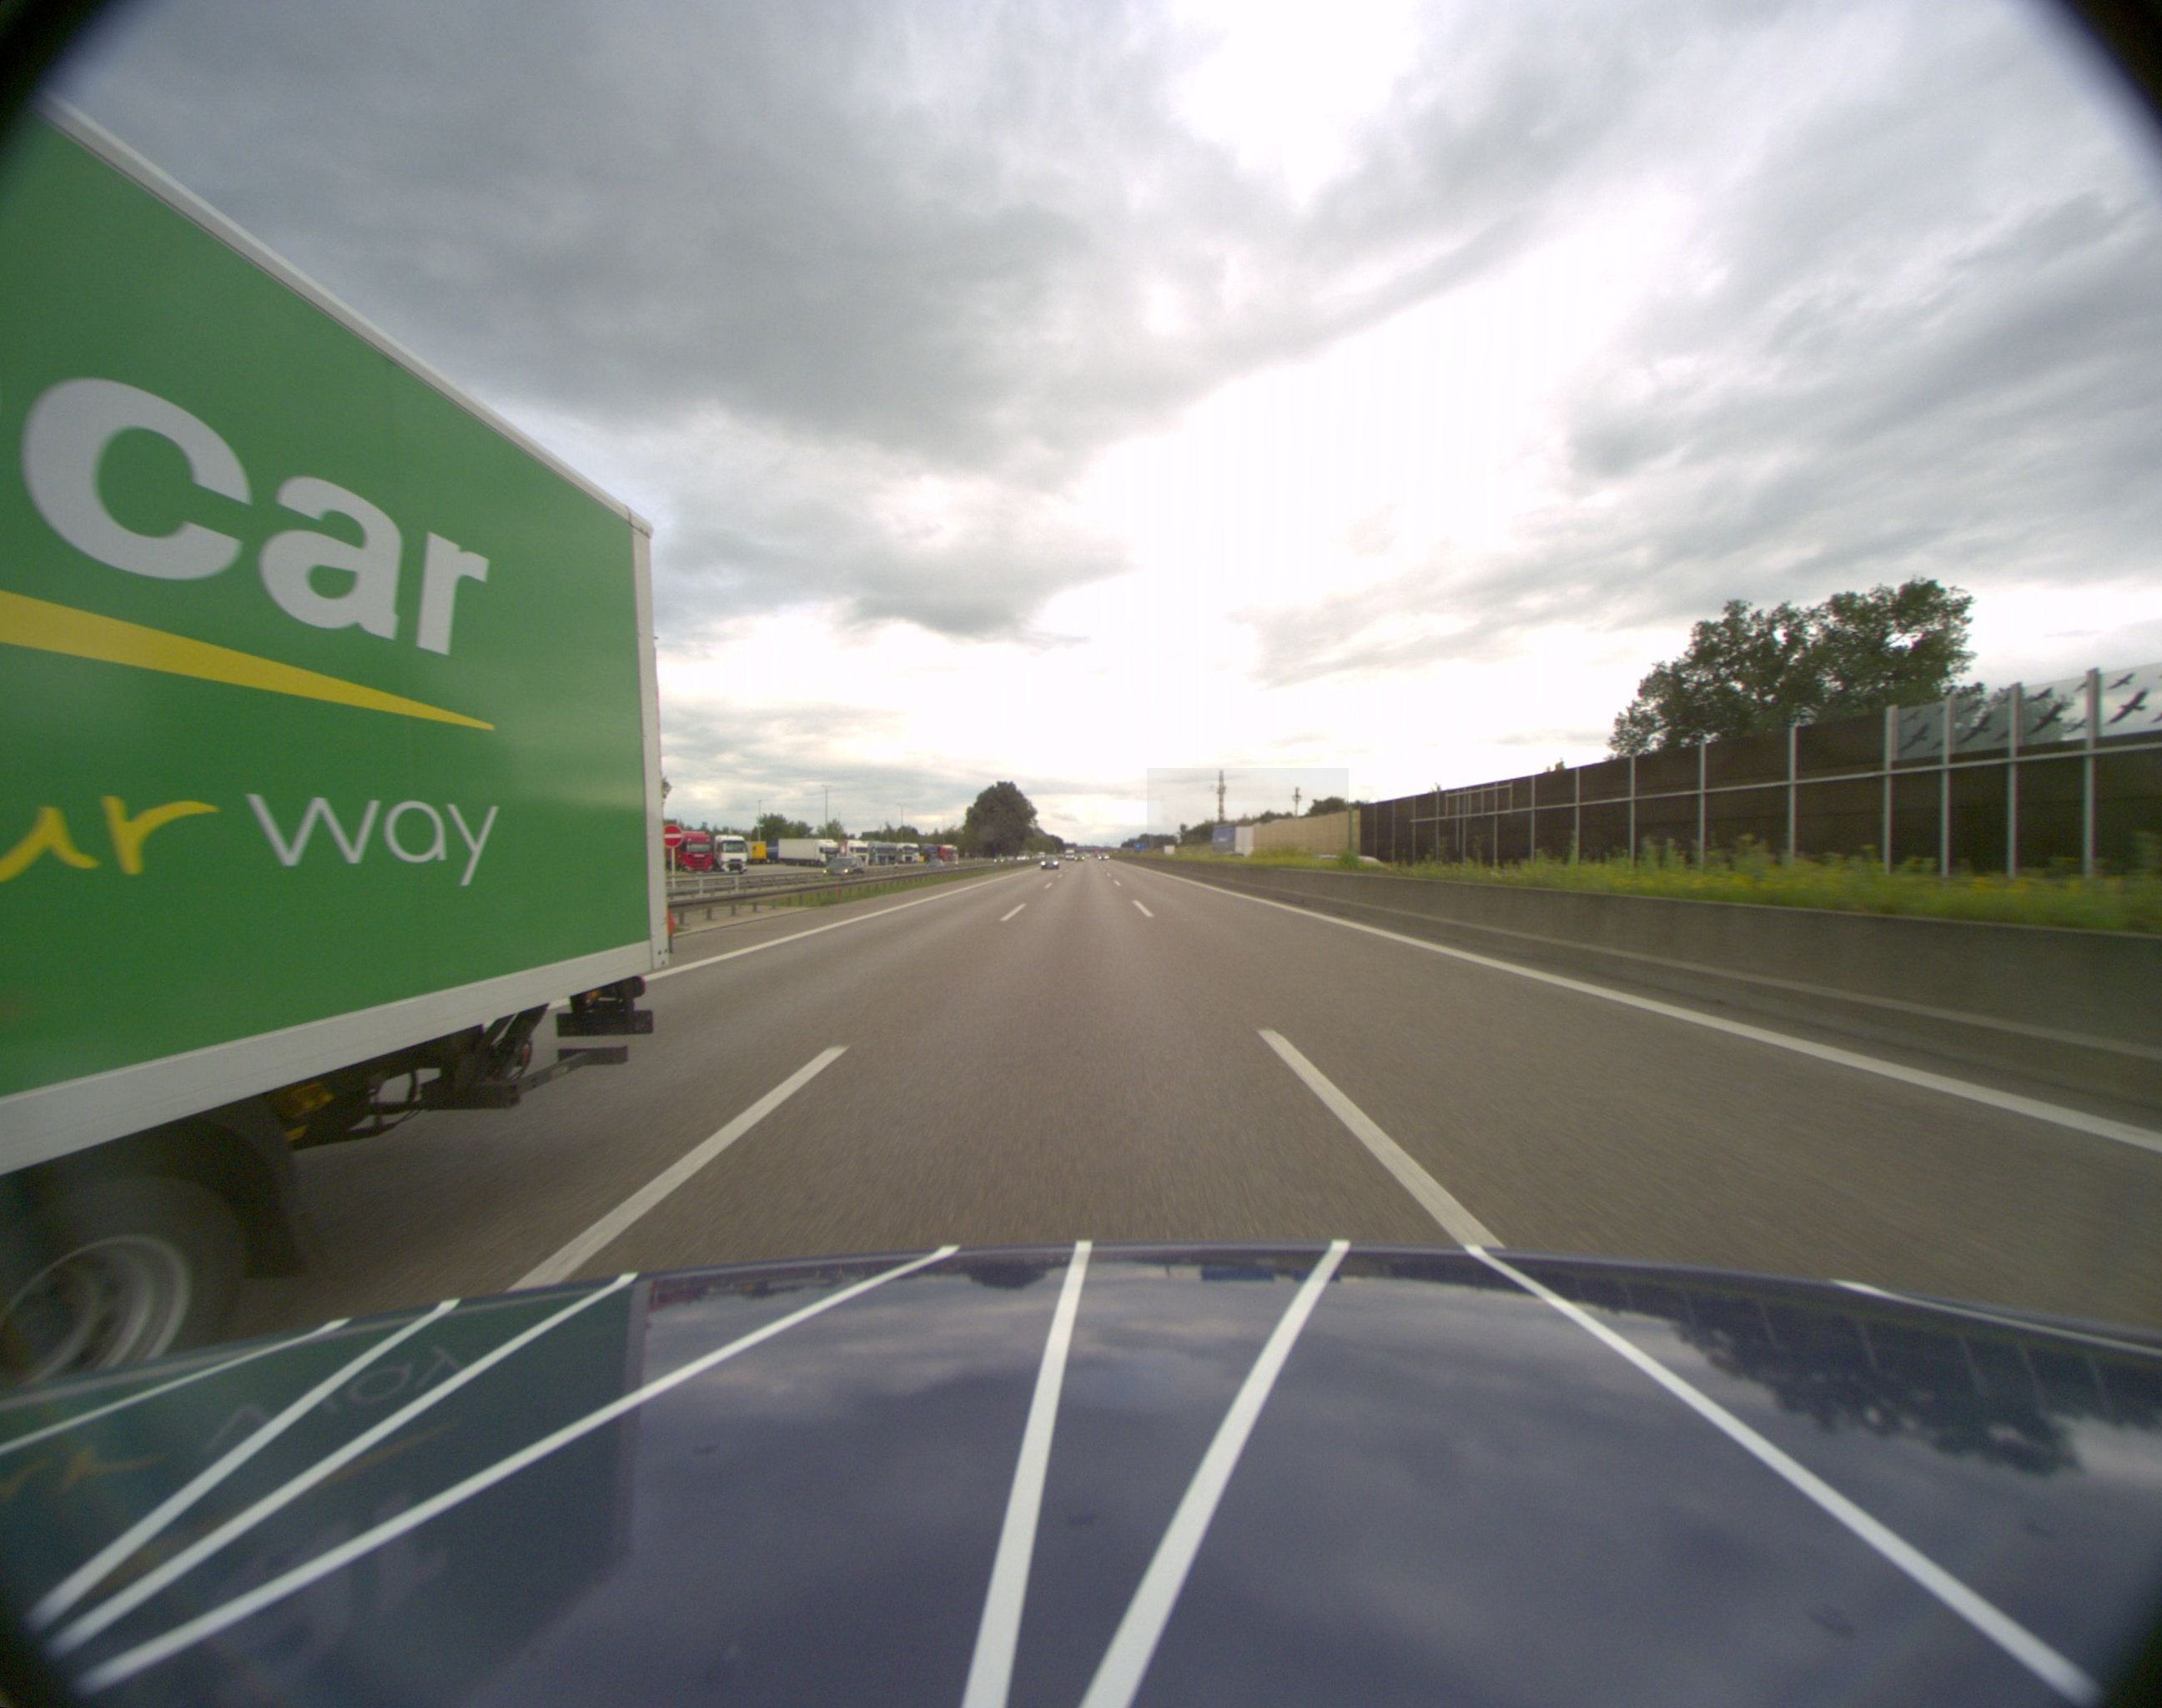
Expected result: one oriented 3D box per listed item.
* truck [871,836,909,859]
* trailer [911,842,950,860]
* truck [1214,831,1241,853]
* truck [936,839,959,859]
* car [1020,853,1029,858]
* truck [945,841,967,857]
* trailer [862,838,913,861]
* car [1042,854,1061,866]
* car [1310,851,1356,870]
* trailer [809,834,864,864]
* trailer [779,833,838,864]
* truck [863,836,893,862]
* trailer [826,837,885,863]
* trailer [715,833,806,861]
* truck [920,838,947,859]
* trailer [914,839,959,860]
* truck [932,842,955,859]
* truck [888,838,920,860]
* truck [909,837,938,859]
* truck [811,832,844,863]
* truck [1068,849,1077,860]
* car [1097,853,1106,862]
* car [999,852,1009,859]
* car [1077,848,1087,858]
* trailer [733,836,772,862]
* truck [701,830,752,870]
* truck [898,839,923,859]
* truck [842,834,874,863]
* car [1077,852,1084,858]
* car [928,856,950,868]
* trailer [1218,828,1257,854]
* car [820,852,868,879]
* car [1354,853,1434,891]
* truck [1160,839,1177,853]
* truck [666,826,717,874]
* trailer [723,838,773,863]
[{"bbox_3d":[-35.436,-1.189,140.852,3.554,4.061,7.634,-3,1,-42],"label":"truck"},{"bbox_3d":[-38.698,-0.761,194.613,2.668,4.089,14.030,-4,1,-43],"label":"trailer"},{"bbox_3d":[21.699,-1.780,112.759,2.831,3.208,5.980,-1,1,1],"label":"truck"},{"bbox_3d":[-32.259,-1.160,182.945,2.883,4.598,5.158,-4,1,-44],"label":"truck"},{"bbox_3d":[-14.344,0.287,192.739,1.828,1.236,3.878,-1,0,1],"label":"car"},{"bbox_3d":[-33.390,-1.401,203.208,2.831,4.037,6.432,-3,1,-38],"label":"truck"},{"bbox_3d":[-39.343,-0.840,153.849,2.860,4.081,15.847,-3,1,-42],"label":"trailer"},{"bbox_3d":[-3.166,0.668,82.358,1.781,1.180,4.000,-1,0,1],"label":"car"},{"bbox_3d":[17.245,0.423,52.173,1.710,1.250,3.999,-1,0,-1],"label":"car"},{"bbox_3d":[-39.557,-0.695,122.623,2.482,4.370,14.105,-4,1,-43],"label":"trailer"},{"bbox_3d":[-40.317,-0.719,112.031,2.618,4.051,13.506,-4,1,-44],"label":"trailer"},{"bbox_3d":[-33.883,-0.818,126.821,2.646,4.108,4.782,-4,1,-45],"label":"truck"},{"bbox_3d":[-39.356,-0.646,132.150,14.656,4.061,2.663,-2,1,44],"label":"trailer"},{"bbox_3d":[-58.152,-1.371,138.570,15.079,4.616,2.866,-3,1,-45],"label":"trailer"},{"bbox_3d":[-33.130,-1.281,170.409,3.066,4.531,6.069,-4,1,-43],"label":"truck"},{"bbox_3d":[-35.634,-1.084,186.599,2.869,4.651,15.768,-4,1,-43],"label":"trailer"},{"bbox_3d":[-34.355,-0.881,189.874,2.674,4.125,5.914,-4,1,-42],"label":"truck"},{"bbox_3d":[-34.719,-0.938,148.611,2.891,4.111,6.953,-3,1,-42],"label":"truck"},{"bbox_3d":[-33.980,-1.309,164.078,3.174,4.531,6.069,-4,1,-43],"label":"truck"},{"bbox_3d":[-35.905,-0.913,107.526,2.619,4.111,4.521,-4,1,-44],"label":"truck"},{"bbox_3d":[-1.945,0.047,180.258,1.998,2.483,5.869,-2,1,1],"label":"truck"},{"bbox_3d":[4.642,0.757,174.735,1.998,2.002,4.000,0,1,1],"label":"car"},{"bbox_3d":[-14.877,0.263,147.543,1.465,1.208,4.000,-1,0,1],"label":"car"},{"bbox_3d":[0.210,-0.259,160.310,1.998,2.002,4.000,0,1,1],"label":"car"},{"bbox_3d":[-55.435,-0.908,128.454,1.994,4.270,5.647,0,1,43],"label":"trailer"},{"bbox_3d":[-35.141,-0.381,75.211,2.762,3.827,6.375,-1,1,-43],"label":"truck"},{"bbox_3d":[-34.536,-0.994,153.890,2.701,4.032,4.785,-3,1,-40],"label":"truck"},{"bbox_3d":[-34.444,-0.792,117.195,2.516,4.303,4.891,-4,1,-44],"label":"truck"},{"bbox_3d":[-0.152,0.408,253.266,1.998,2.002,3.999,-2,1,0],"label":"car"},{"bbox_3d":[-16.394,0.875,87.617,1.796,1.251,3.545,-2,1,0],"label":"car"},{"bbox_3d":[21.620,-1.704,105.807,2.827,3.357,13.509,-1,1,1],"label":"trailer"},{"bbox_3d":[-16.449,0.758,52.924,1.832,1.746,4.594,-1,0,1],"label":"car"},{"bbox_3d":[13.185,0.705,32.256,1.710,1.478,3.999,-1,0,-1],"label":"car"},{"bbox_3d":[22.541,-2.009,195.975,3.267,3.582,10.934,-1,0,0],"label":"truck"},{"bbox_3d":[-36.329,-0.338,70.782,2.597,4.229,5.678,-4,1,-43],"label":"truck"},{"bbox_3d":[-58.088,-0.695,132.709,1.994,4.270,7.755,0,1,43],"label":"trailer"}]
